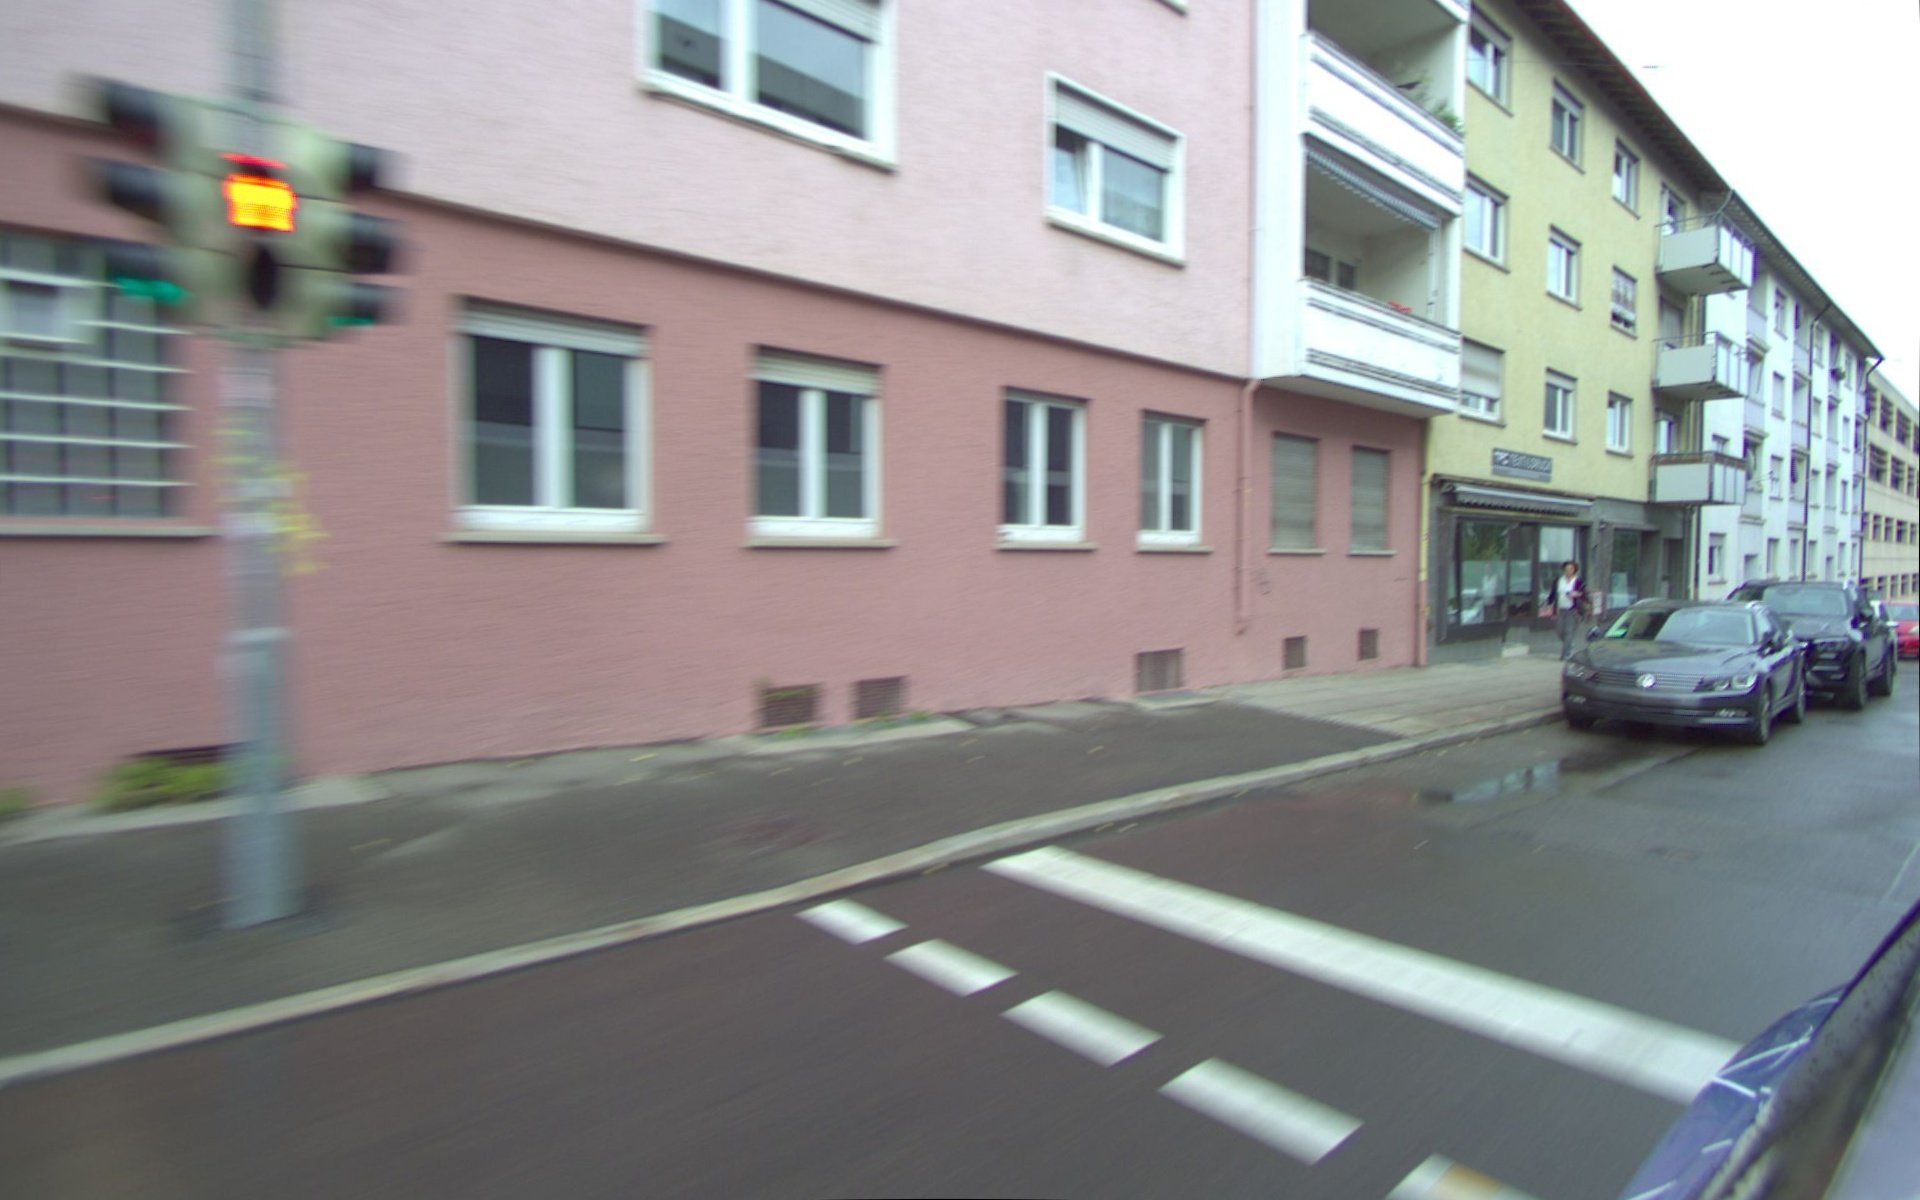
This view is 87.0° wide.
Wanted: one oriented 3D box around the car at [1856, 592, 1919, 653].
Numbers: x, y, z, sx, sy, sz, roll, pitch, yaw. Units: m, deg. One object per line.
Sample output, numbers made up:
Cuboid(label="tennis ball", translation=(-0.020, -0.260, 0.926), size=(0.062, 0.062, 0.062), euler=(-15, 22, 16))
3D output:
Cuboid(label="car", translation=(24.505, 0.537, 26.144), size=(3.424, 1.474, 1.629), euler=(0, 1, -42))

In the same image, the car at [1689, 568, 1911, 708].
Cuboid(label="car", translation=(12.730, 0.474, 15.240), size=(4.435, 1.796, 1.966), euler=(0, 0, -42))

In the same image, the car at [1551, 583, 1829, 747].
Cuboid(label="car", translation=(8.659, 0.597, 11.845), size=(4.436, 1.538, 1.794), euler=(0, 2, -43))

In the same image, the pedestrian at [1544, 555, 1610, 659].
Cuboid(label="pedestrian", translation=(11.168, 0.111, 18.321), size=(0.735, 1.794, 0.715), euler=(0, 4, -42))

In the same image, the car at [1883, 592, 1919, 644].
Cuboid(label="car", translation=(28.119, 0.506, 29.333), size=(3.712, 1.428, 1.629), euler=(0, 1, -41))

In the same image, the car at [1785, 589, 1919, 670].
Cuboid(label="car", translation=(18.027, 0.536, 20.410), size=(3.424, 1.474, 1.629), euler=(0, 1, -42))
